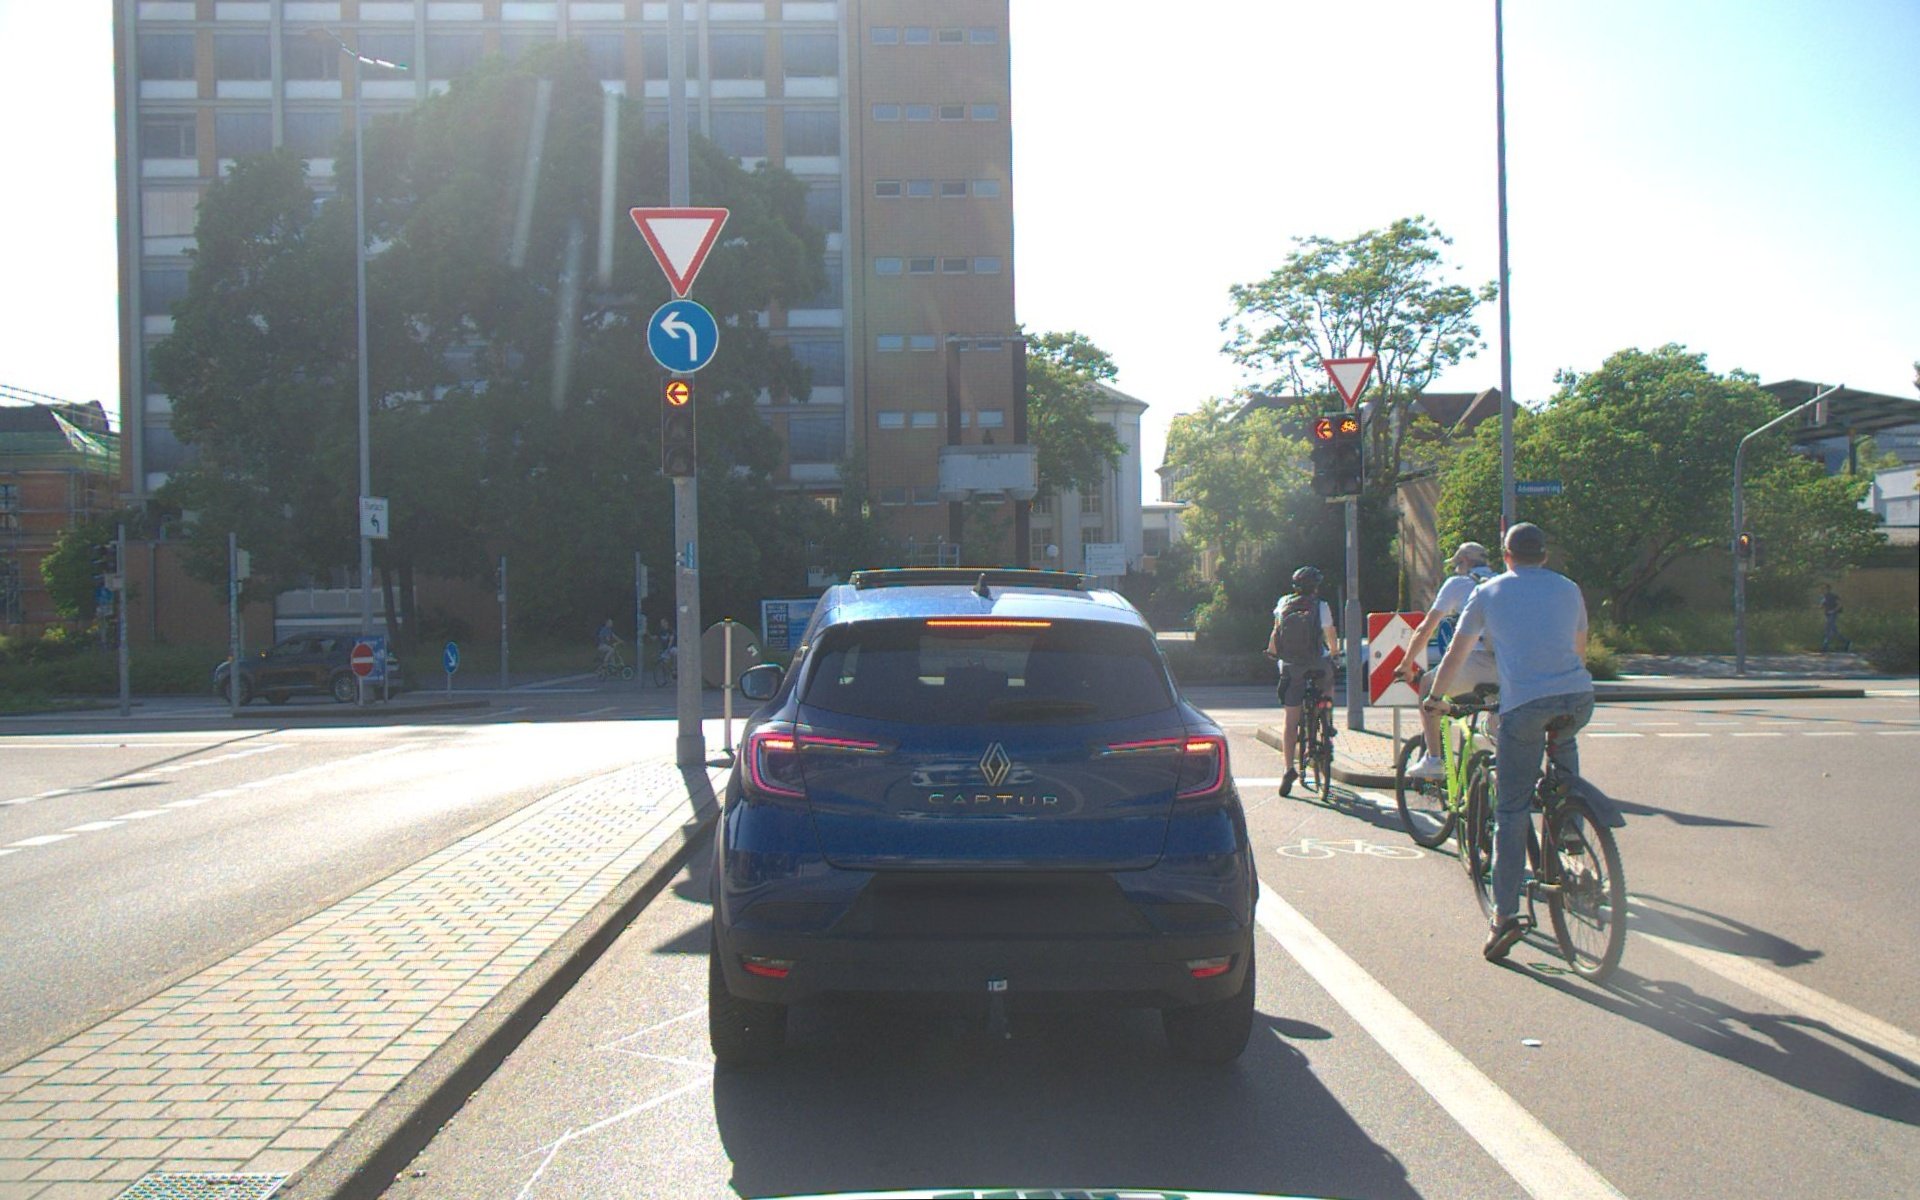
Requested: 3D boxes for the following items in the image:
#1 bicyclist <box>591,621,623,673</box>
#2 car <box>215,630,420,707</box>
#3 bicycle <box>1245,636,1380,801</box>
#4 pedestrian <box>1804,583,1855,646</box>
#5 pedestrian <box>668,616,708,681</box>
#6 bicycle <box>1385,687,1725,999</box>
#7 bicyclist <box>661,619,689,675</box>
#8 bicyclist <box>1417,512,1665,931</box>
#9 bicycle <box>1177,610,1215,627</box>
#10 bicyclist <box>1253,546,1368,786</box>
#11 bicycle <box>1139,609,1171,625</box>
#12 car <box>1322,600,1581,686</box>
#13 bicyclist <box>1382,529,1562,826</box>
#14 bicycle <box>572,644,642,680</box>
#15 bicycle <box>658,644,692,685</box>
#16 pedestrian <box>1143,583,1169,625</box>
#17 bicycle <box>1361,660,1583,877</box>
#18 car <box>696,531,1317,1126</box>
[{"bbox_3d":[-9.890,1.314,46.349,0.623,1.437,0.649,-1,0,18],"label":"bicyclist"},{"bbox_3d":[-14.348,1.514,37.006,3.902,1.598,1.837,-1,0,12],"label":"car"},{"bbox_3d":[2.735,0.887,13.005,0.602,1.158,1.825,0,0,-2],"label":"bicycle"},{"bbox_3d":[22.680,0.377,43.157,0.960,1.632,0.827,-1,0,13],"label":"pedestrian"},{"bbox_3d":[-7.941,1.411,48.352,0.912,1.888,0.808,-1,0,8],"label":"pedestrian"},{"bbox_3d":[2.520,0.978,7.269,0.732,1.069,1.902,-1,0,-2],"label":"bicycle"},{"bbox_3d":[-7.550,1.242,43.759,0.637,1.437,0.635,-1,-3,-17],"label":"bicyclist"},{"bbox_3d":[2.506,0.494,7.220,0.725,1.703,0.865,-1,0,-3],"label":"bicyclist"},{"bbox_3d":[11.857,0.929,83.203,1.739,0.837,0.763,-1,0,-11],"label":"bicycle"},{"bbox_3d":[2.749,0.507,13.042,0.663,1.816,0.939,1,-1,-2],"label":"bicyclist"},{"bbox_3d":[11.200,0.980,94.994,1.735,0.914,0.765,-1,0,-1],"label":"bicycle"},{"bbox_3d":[9.918,0.858,33.716,4.760,1.621,1.939,-1,0,6],"label":"car"},{"bbox_3d":[2.939,0.426,9.583,0.660,1.610,1.081,1,0,-2],"label":"bicyclist"},{"bbox_3d":[-9.896,1.735,46.357,1.826,0.975,0.624,-1,0,18],"label":"bicycle"},{"bbox_3d":[-7.557,1.726,43.803,0.687,1.025,1.860,-1,-3,-16],"label":"bicycle"},{"bbox_3d":[9.790,0.191,82.519,1.132,2.049,1.164,-1,0,-1],"label":"pedestrian"},{"bbox_3d":[2.928,0.924,9.659,0.657,1.069,1.843,1,0,-2],"label":"bicycle"},{"bbox_3d":[0.082,0.645,6.643,1.758,1.684,3.852,1,0,-2],"label":"car"}]
